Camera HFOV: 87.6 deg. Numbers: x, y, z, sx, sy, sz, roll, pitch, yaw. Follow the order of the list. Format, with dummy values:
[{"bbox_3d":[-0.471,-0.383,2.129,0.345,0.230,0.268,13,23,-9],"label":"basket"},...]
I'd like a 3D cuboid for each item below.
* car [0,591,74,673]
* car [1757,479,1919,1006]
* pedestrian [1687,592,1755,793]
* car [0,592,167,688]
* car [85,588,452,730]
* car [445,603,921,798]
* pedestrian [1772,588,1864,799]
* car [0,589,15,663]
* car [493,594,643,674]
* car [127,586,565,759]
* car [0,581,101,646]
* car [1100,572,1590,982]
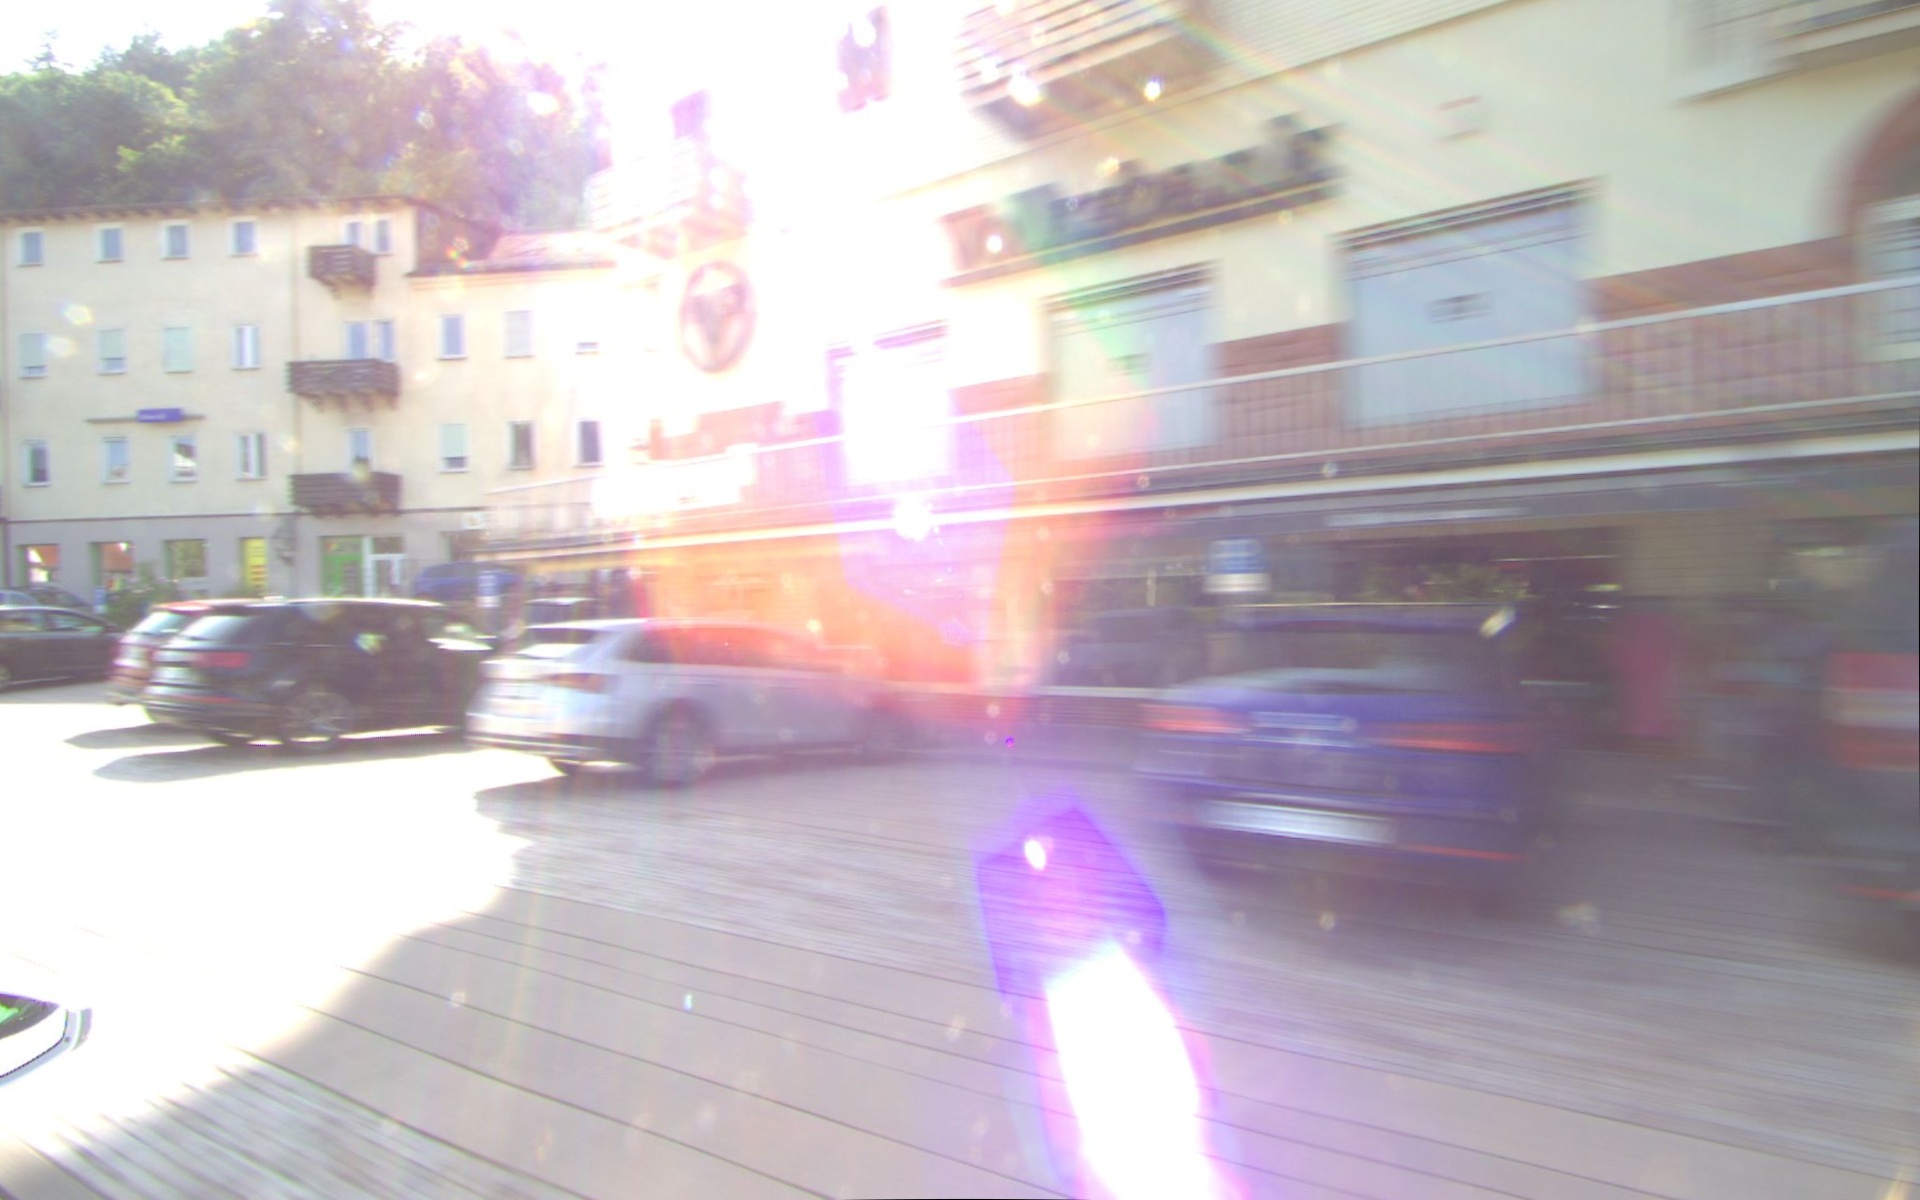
[{"bbox_3d":[-20.091,0.681,19.512,1.740,1.571,3.866,0,3,15],"label":"car"},{"bbox_3d":[5.043,0.568,4.658,1.833,1.826,3.900,-1,-4,35],"label":"car"},{"bbox_3d":[6.607,0.783,8.693,0.430,1.681,0.409,0,3,43],"label":"pedestrian"},{"bbox_3d":[-17.100,0.706,18.116,1.740,1.537,4.015,0,3,15],"label":"car"},{"bbox_3d":[-9.642,0.806,14.254,1.749,1.722,3.900,1,-2,35],"label":"car"},{"bbox_3d":[-2.444,0.925,9.875,1.751,1.478,4.344,-2,-5,37],"label":"car"},{"bbox_3d":[7.061,0.753,8.251,0.427,1.681,0.456,-1,2,18],"label":"pedestrian"},{"bbox_3d":[-22.551,0.643,20.784,1.740,1.635,3.866,0,3,15],"label":"car"},{"bbox_3d":[-8.729,0.702,22.696,1.738,1.631,3.921,0,1,2],"label":"car"},{"bbox_3d":[-7.078,0.822,11.960,1.749,1.687,4.074,-1,-3,35],"label":"car"},{"bbox_3d":[-30.749,0.417,32.849,3.606,2.040,1.863,1,0,4],"label":"car"},{"bbox_3d":[2.474,0.749,5.728,1.713,1.479,3.900,-1,-3,35],"label":"car"}]
